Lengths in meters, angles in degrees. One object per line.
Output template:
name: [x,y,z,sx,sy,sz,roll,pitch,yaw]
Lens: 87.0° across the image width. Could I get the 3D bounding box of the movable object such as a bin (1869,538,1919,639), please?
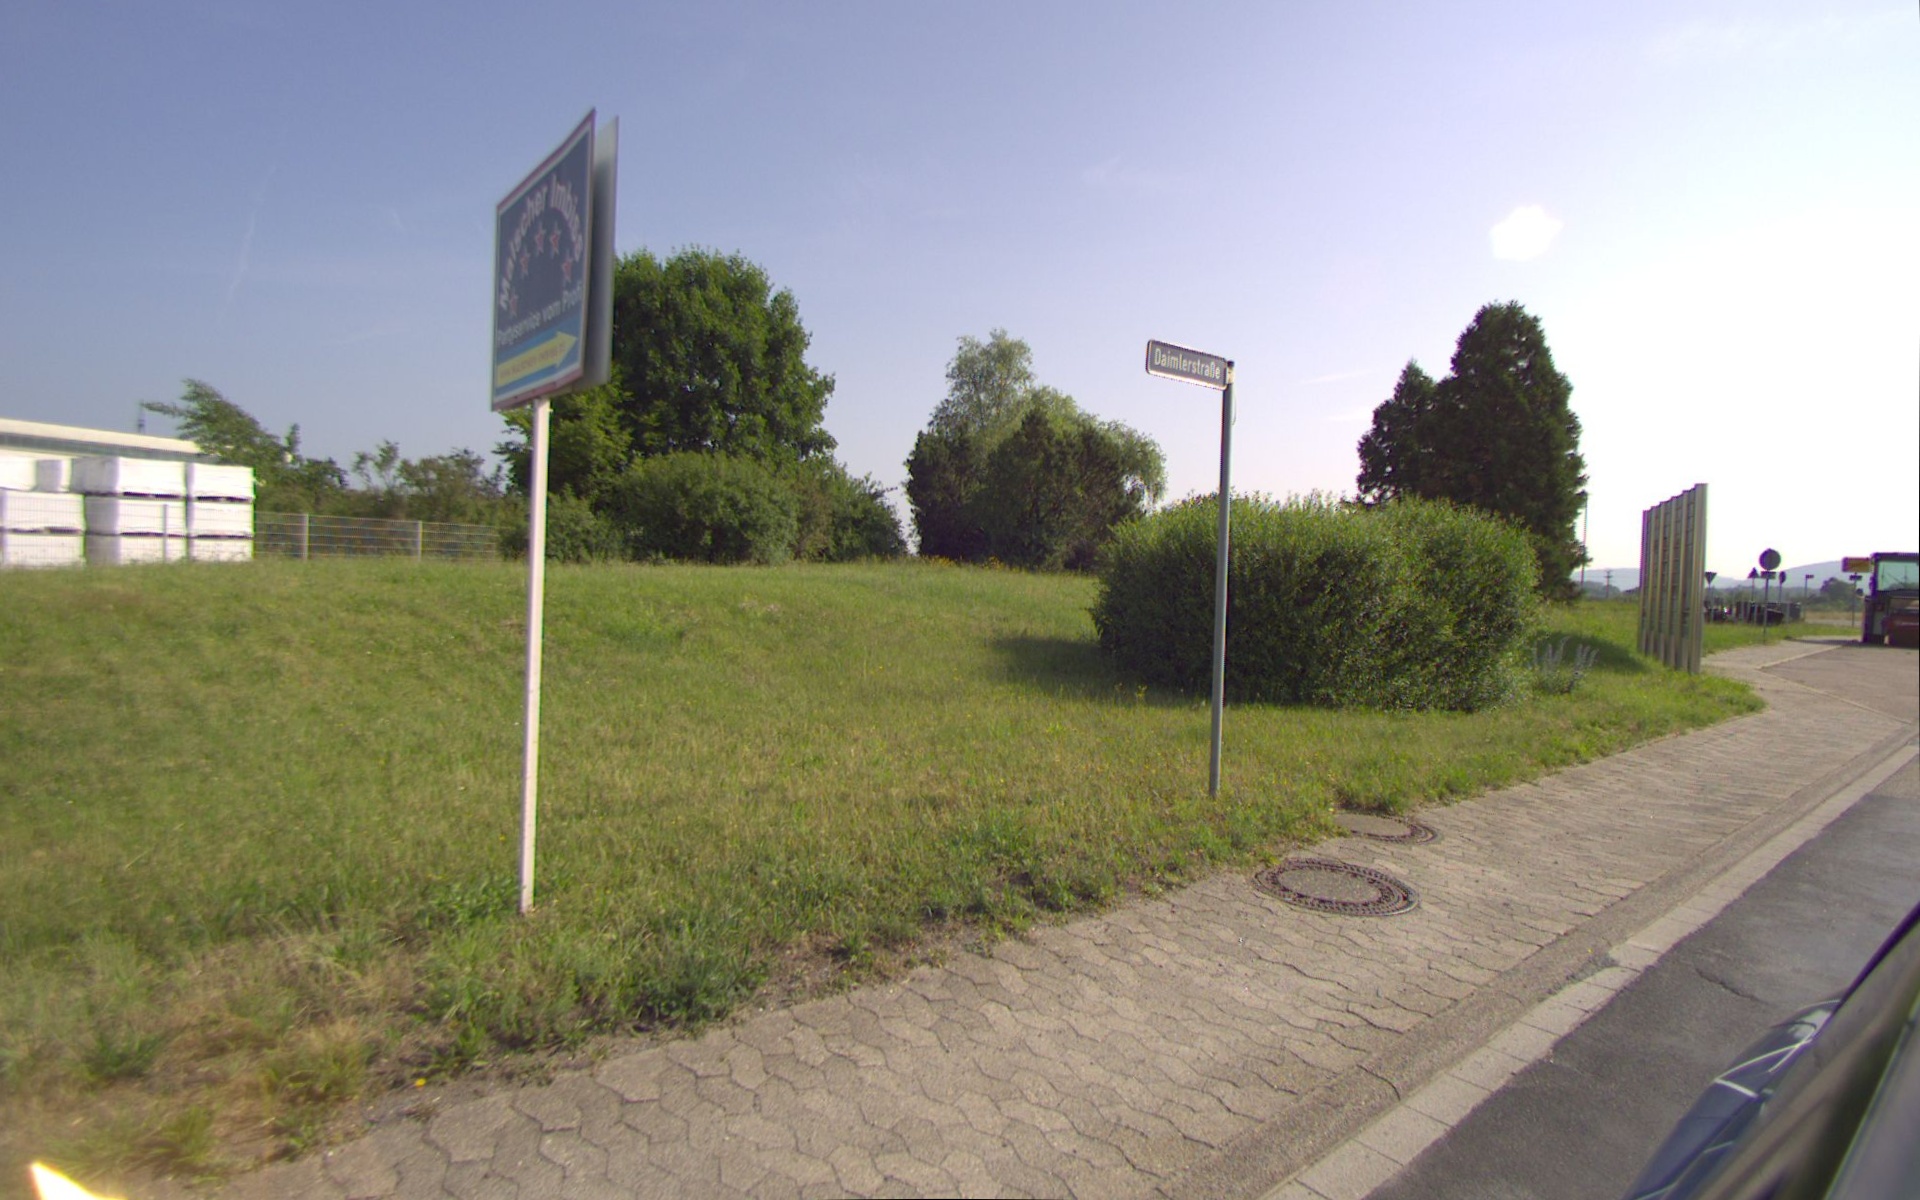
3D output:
movable object such as a bin: [31.328,-0.341,32.896,2.428,3.048,5.667,5,3,42]
